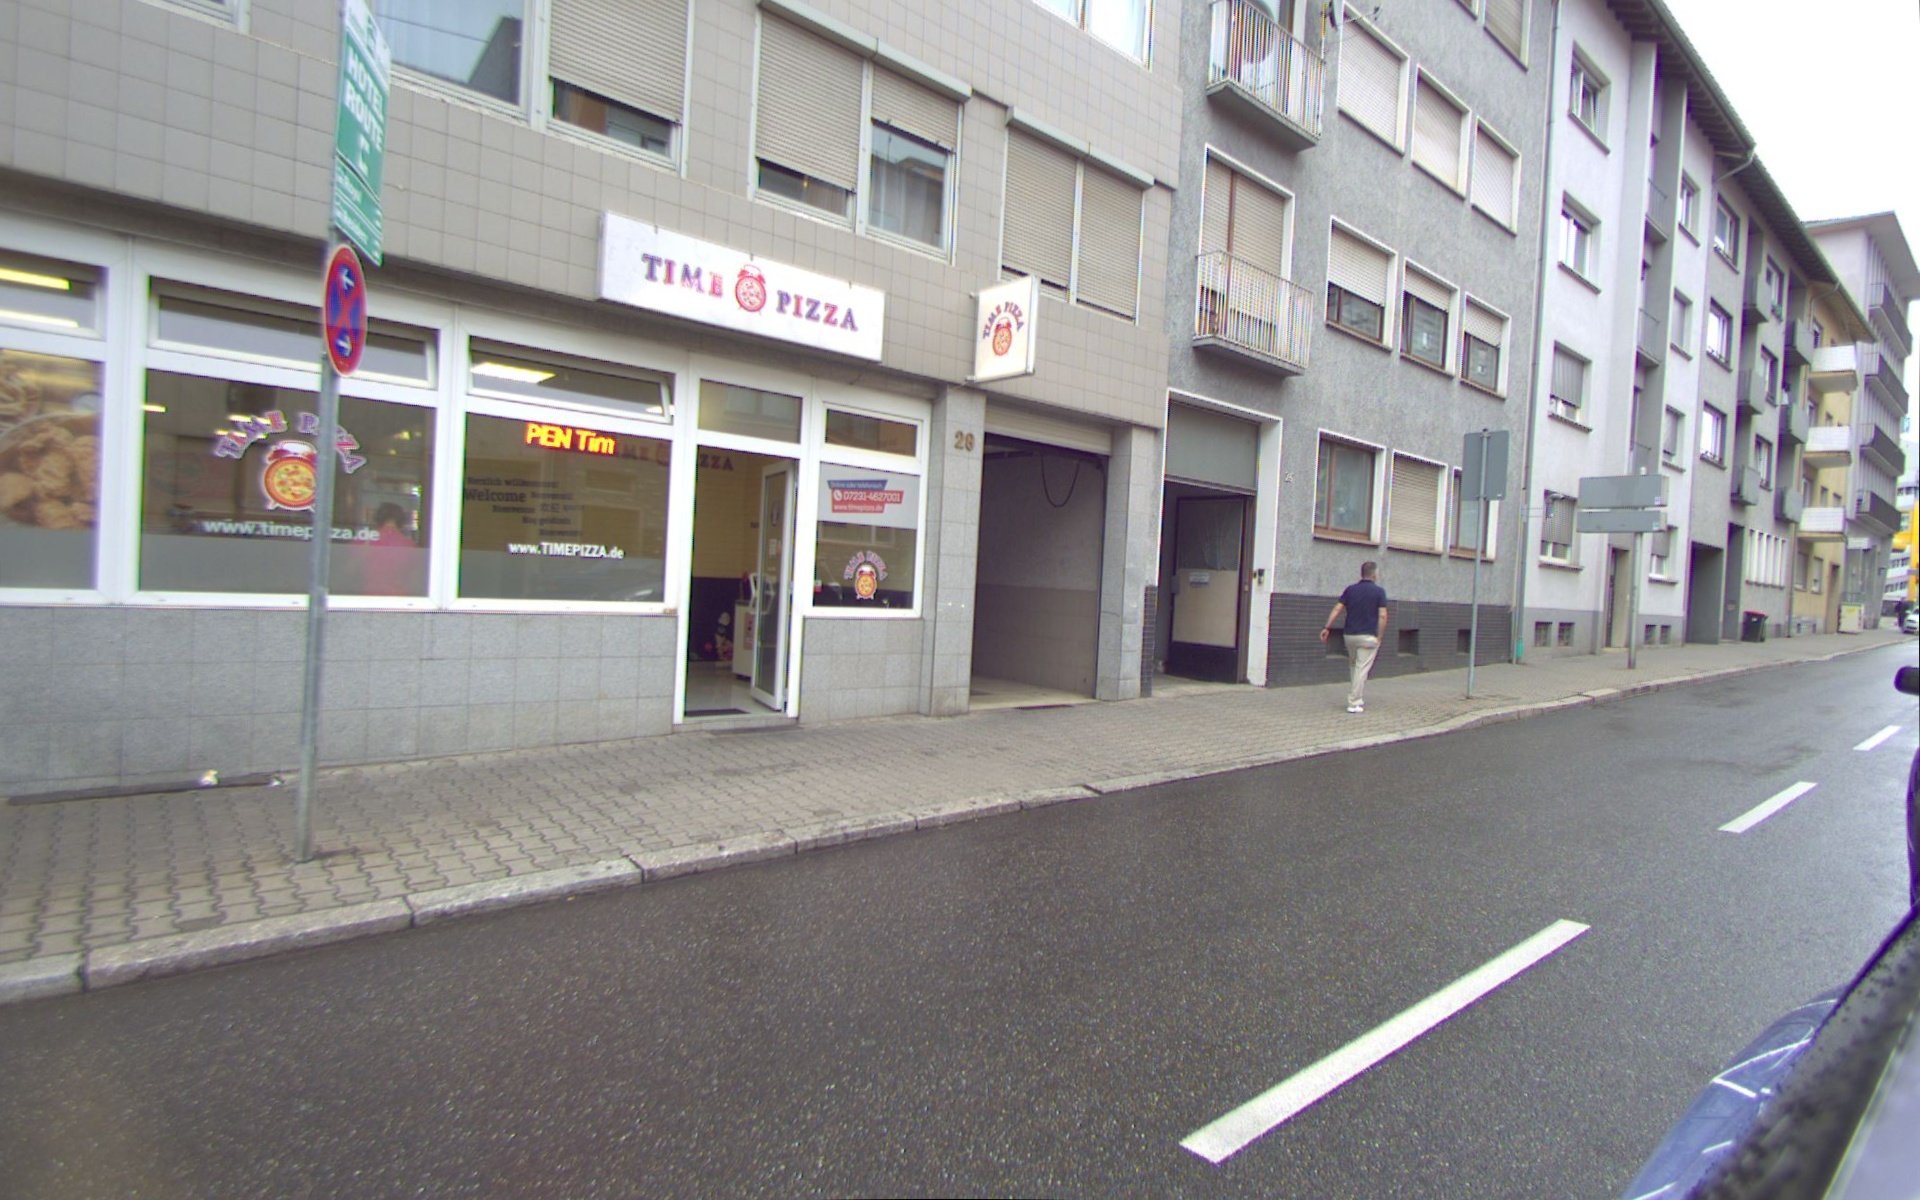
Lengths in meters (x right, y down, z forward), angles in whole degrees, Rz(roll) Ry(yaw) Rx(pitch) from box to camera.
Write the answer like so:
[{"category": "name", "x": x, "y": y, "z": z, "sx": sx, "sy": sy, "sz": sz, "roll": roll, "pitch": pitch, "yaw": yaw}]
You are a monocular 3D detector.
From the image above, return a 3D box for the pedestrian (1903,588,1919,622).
[{"category": "pedestrian", "x": 50.702, "y": 0.271, "z": 53.517, "sx": 1.117, "sy": 1.772, "sz": 0.946, "roll": 4, "pitch": 3, "yaw": 44}]

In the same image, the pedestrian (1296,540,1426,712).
[{"category": "pedestrian", "x": 4.771, "y": 0.273, "z": 12.056, "sx": 1.100, "sy": 1.887, "sz": 0.871, "roll": 0, "pitch": 7, "yaw": -41}]

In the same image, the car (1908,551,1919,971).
[{"category": "car", "x": 6.068, "y": 0.650, "z": 4.931, "sx": 4.144, "sy": 1.743, "sz": 1.697, "roll": -1, "pitch": 0, "yaw": -41}]
